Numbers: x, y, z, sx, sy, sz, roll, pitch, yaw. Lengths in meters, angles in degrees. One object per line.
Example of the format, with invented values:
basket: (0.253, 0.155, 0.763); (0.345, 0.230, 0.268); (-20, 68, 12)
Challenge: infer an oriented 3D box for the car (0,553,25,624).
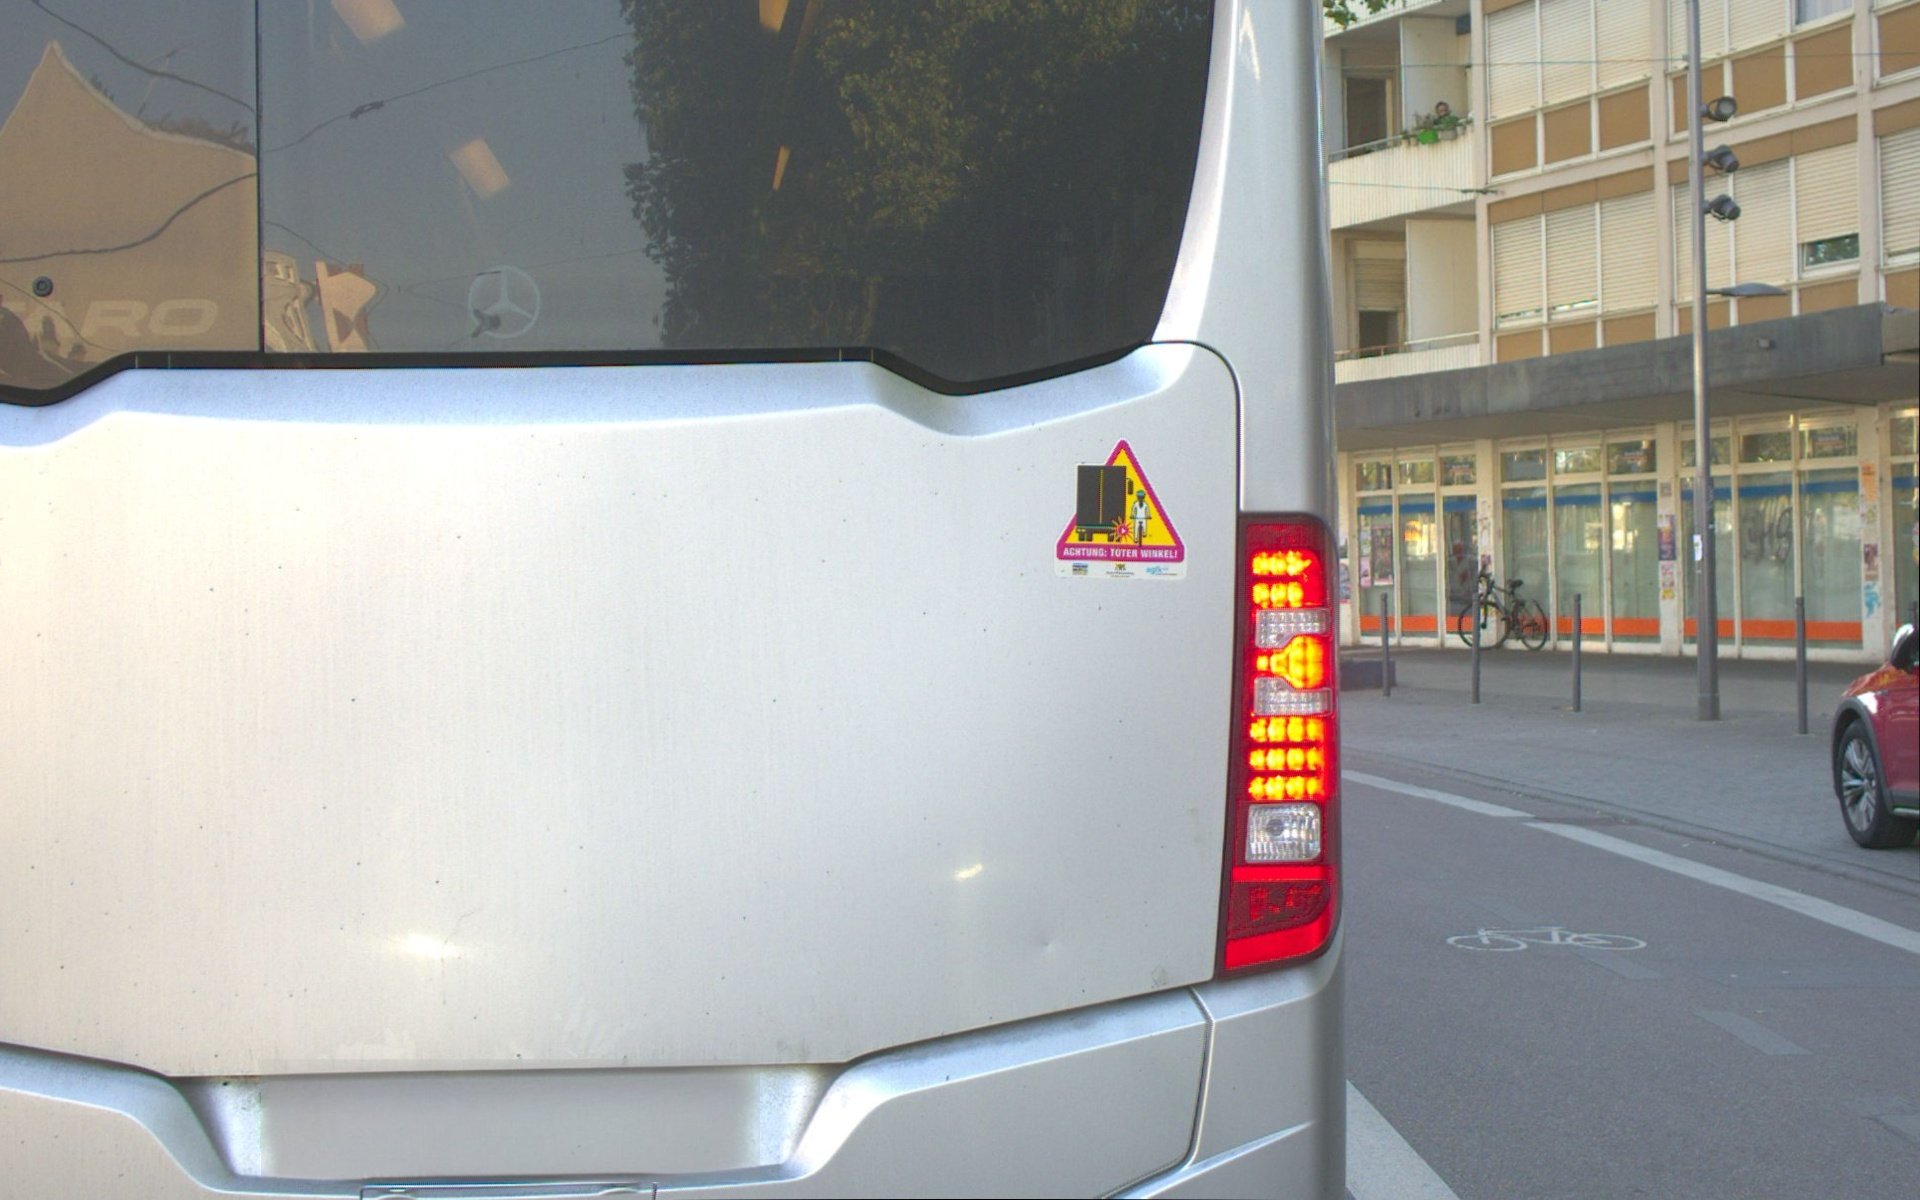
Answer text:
car: (-25.797, -0.317, 88.118); (1.994, 1.785, 3.998); (1, 0, -41)

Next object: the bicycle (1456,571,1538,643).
bicycle: (7.130, 0.086, 45.696); (0.412, 0.941, 1.441); (-1, 1, -20)

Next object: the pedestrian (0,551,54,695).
pedestrian: (-11.485, 0.280, 41.545); (0.897, 1.722, 0.517); (-1, 1, 2)

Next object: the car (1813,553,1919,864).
car: (5.524, 0.504, 15.866); (1.769, 1.477, 4.304); (-2, 1, -4)

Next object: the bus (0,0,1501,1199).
bus: (-0.761, -0.141, 9.787); (2.630, 3.017, 9.998); (0, 1, -2)
